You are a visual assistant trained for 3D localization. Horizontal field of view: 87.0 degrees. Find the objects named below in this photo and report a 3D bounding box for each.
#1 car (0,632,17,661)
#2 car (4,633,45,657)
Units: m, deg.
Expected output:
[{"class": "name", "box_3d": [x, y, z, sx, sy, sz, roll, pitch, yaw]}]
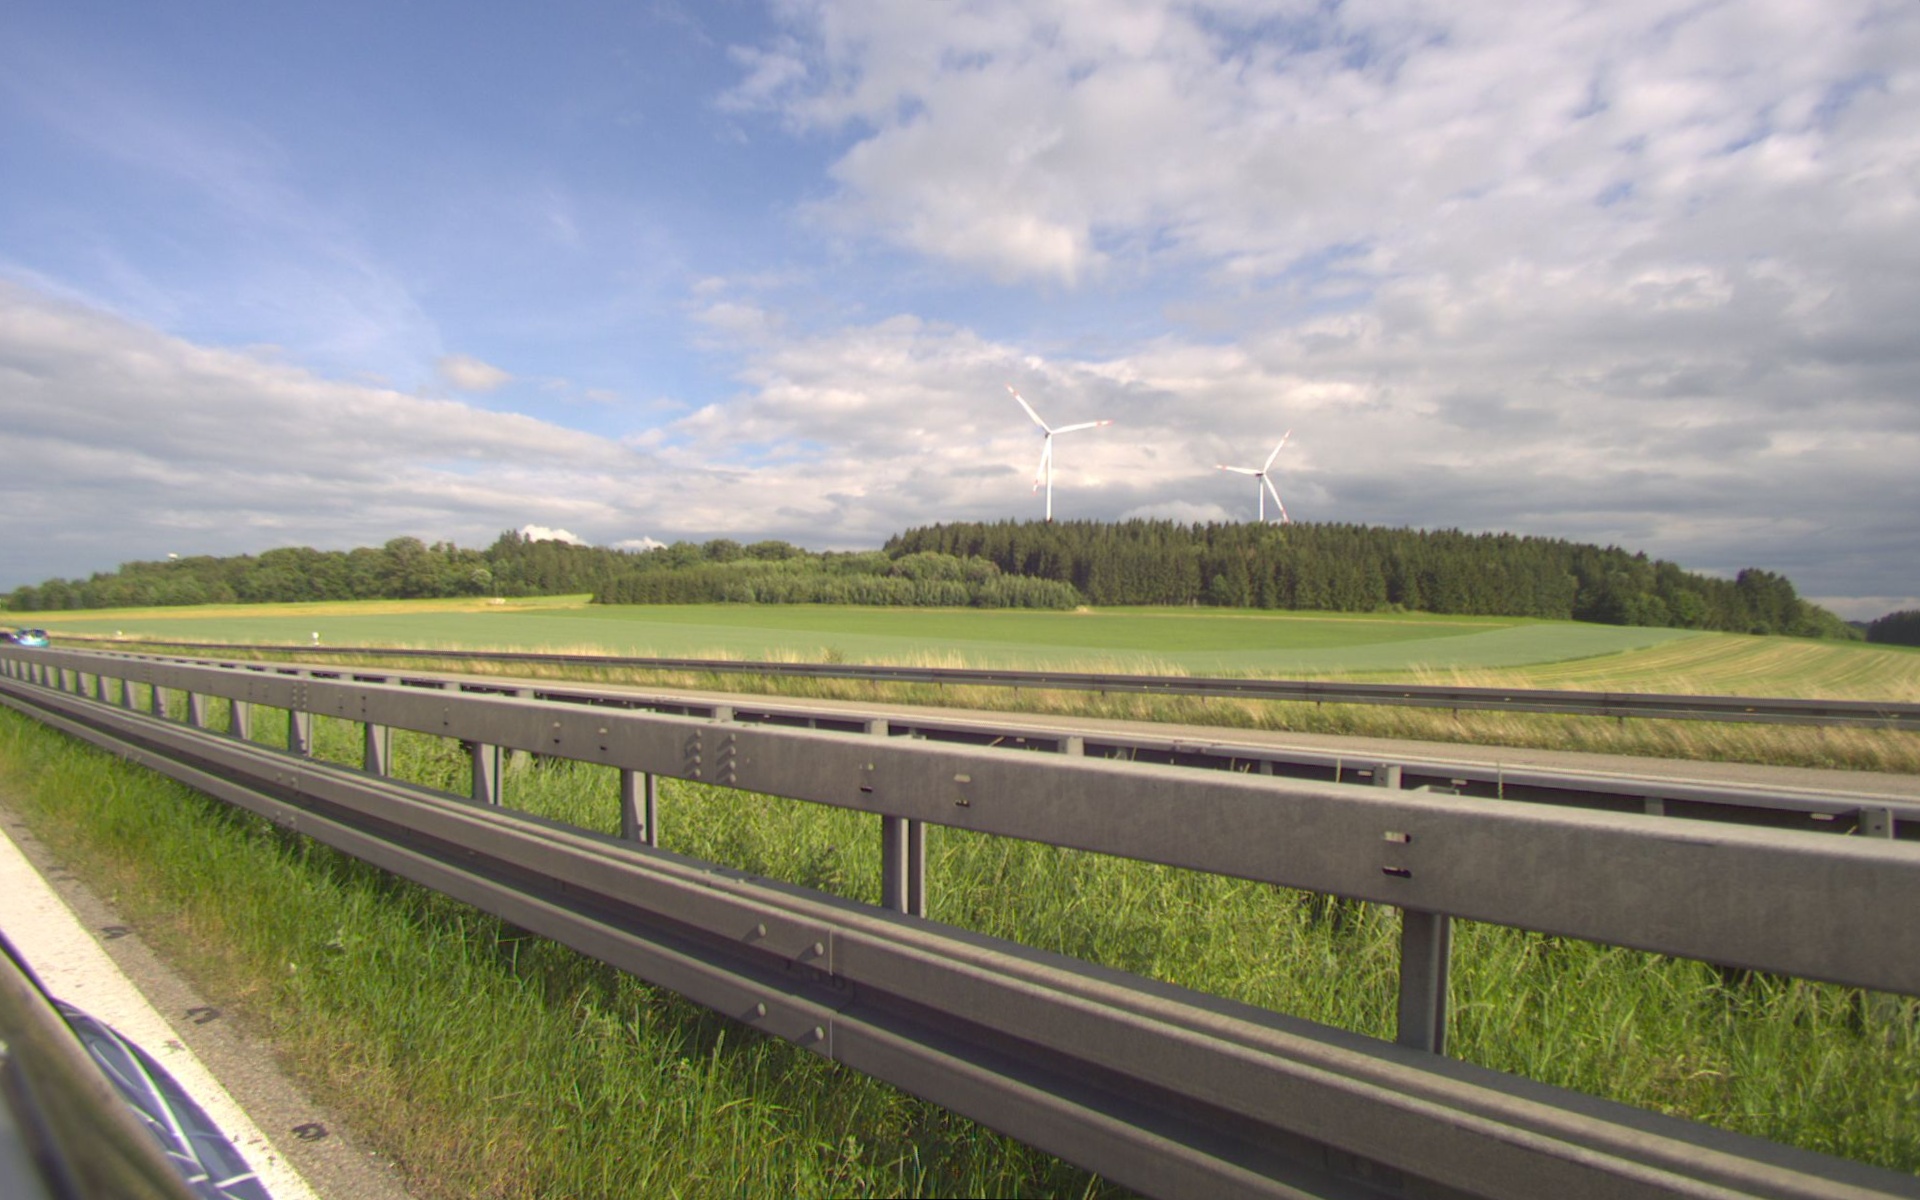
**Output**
[{"class": "car", "box_3d": [-54.729, 2.616, 57.270, 4.157, 1.526, 1.581, -1, -1, 41]}, {"class": "car", "box_3d": [-66.344, 3.188, 71.750, 4.115, 1.600, 1.716, -1, -1, 41]}]
